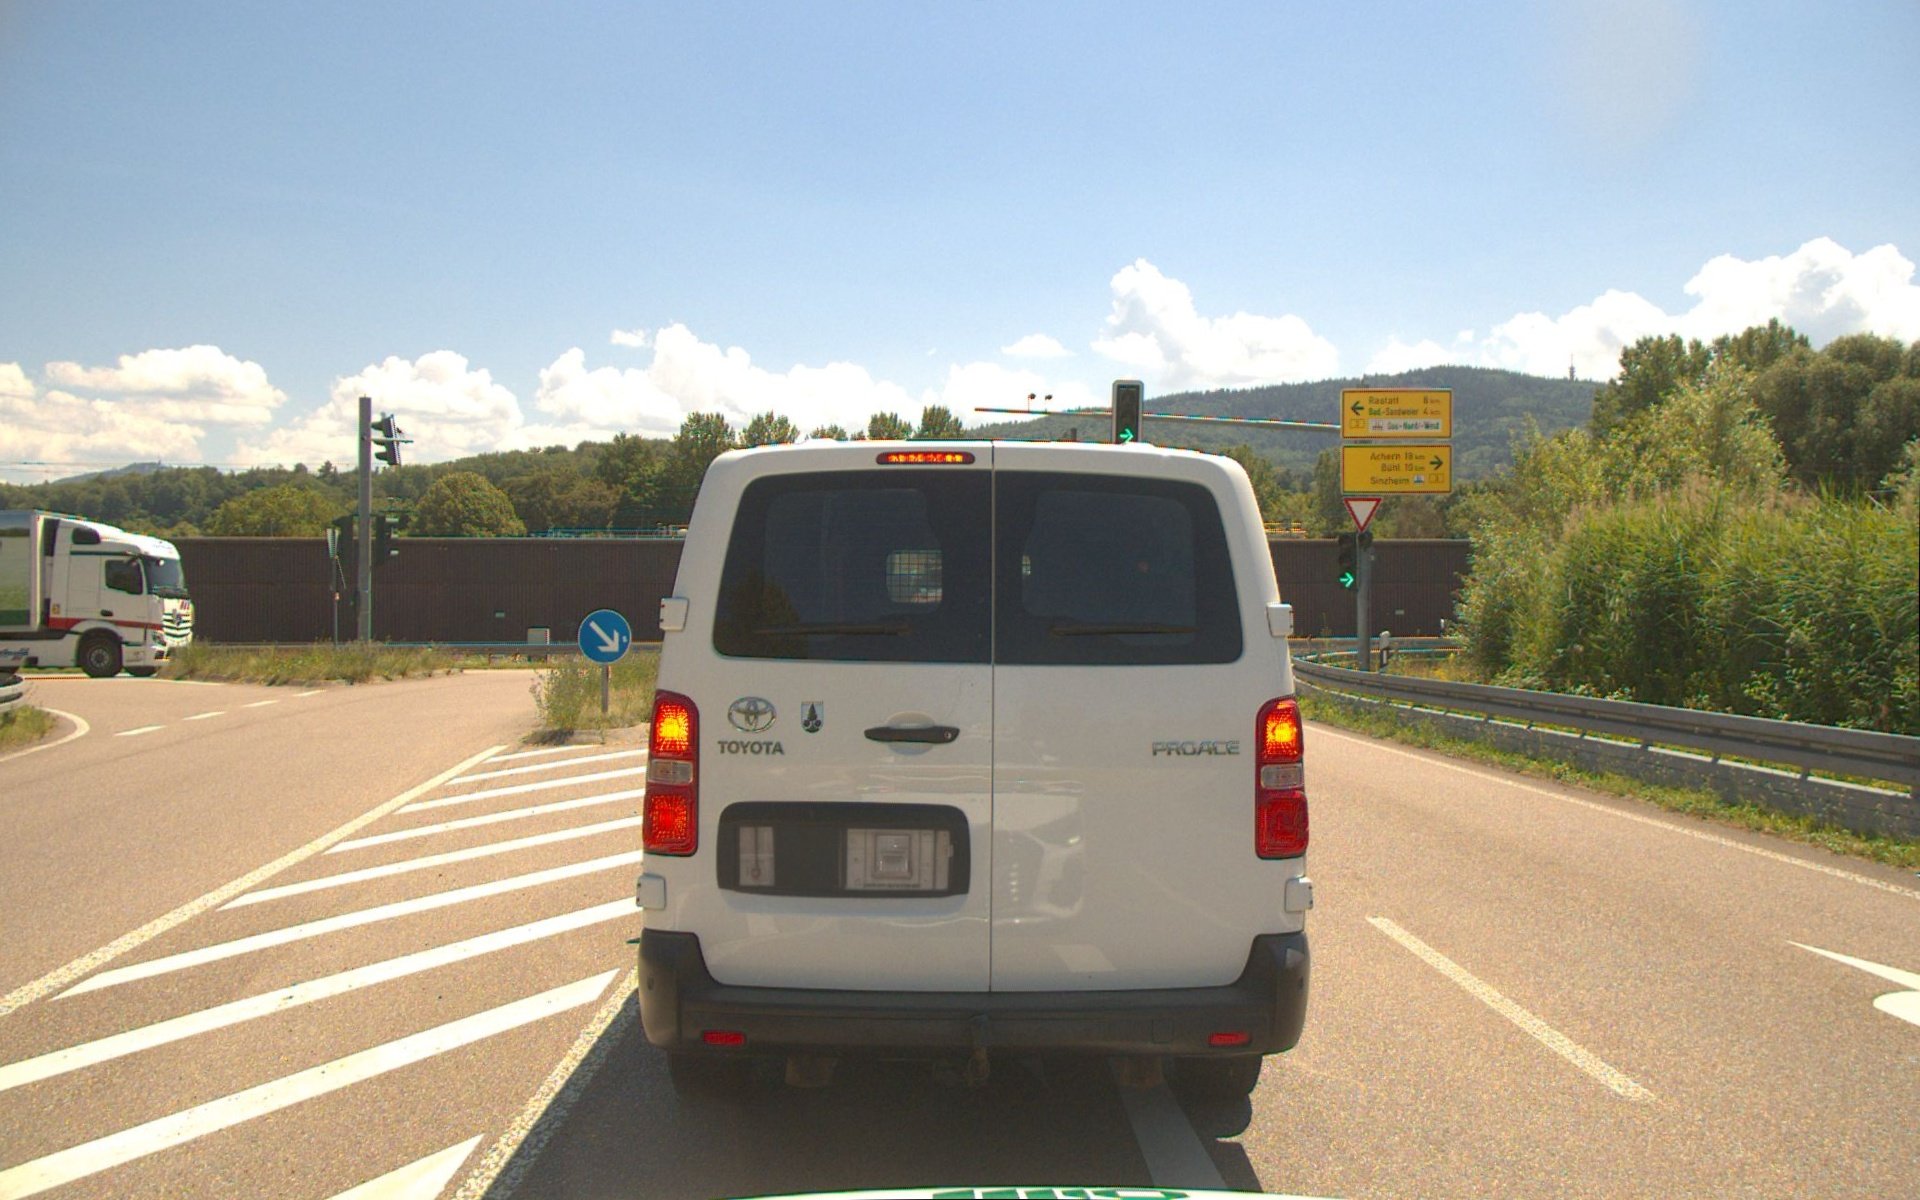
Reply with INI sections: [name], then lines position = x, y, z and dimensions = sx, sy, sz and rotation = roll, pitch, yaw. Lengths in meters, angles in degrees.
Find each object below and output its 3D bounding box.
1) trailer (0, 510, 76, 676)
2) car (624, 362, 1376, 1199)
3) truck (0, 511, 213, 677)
[trailer]
position = -29.523, -0.179, 41.448
dimensions = 12.877, 4.024, 3.060
rotation = 0, -1, -3
[car]
position = 0.071, 0.477, 5.924
dimensions = 1.778, 2.053, 3.999
rotation = 0, 0, -1
[truck]
position = -22.394, -0.140, 41.785
dimensions = 5.649, 4.024, 3.061
rotation = 0, -1, -3
